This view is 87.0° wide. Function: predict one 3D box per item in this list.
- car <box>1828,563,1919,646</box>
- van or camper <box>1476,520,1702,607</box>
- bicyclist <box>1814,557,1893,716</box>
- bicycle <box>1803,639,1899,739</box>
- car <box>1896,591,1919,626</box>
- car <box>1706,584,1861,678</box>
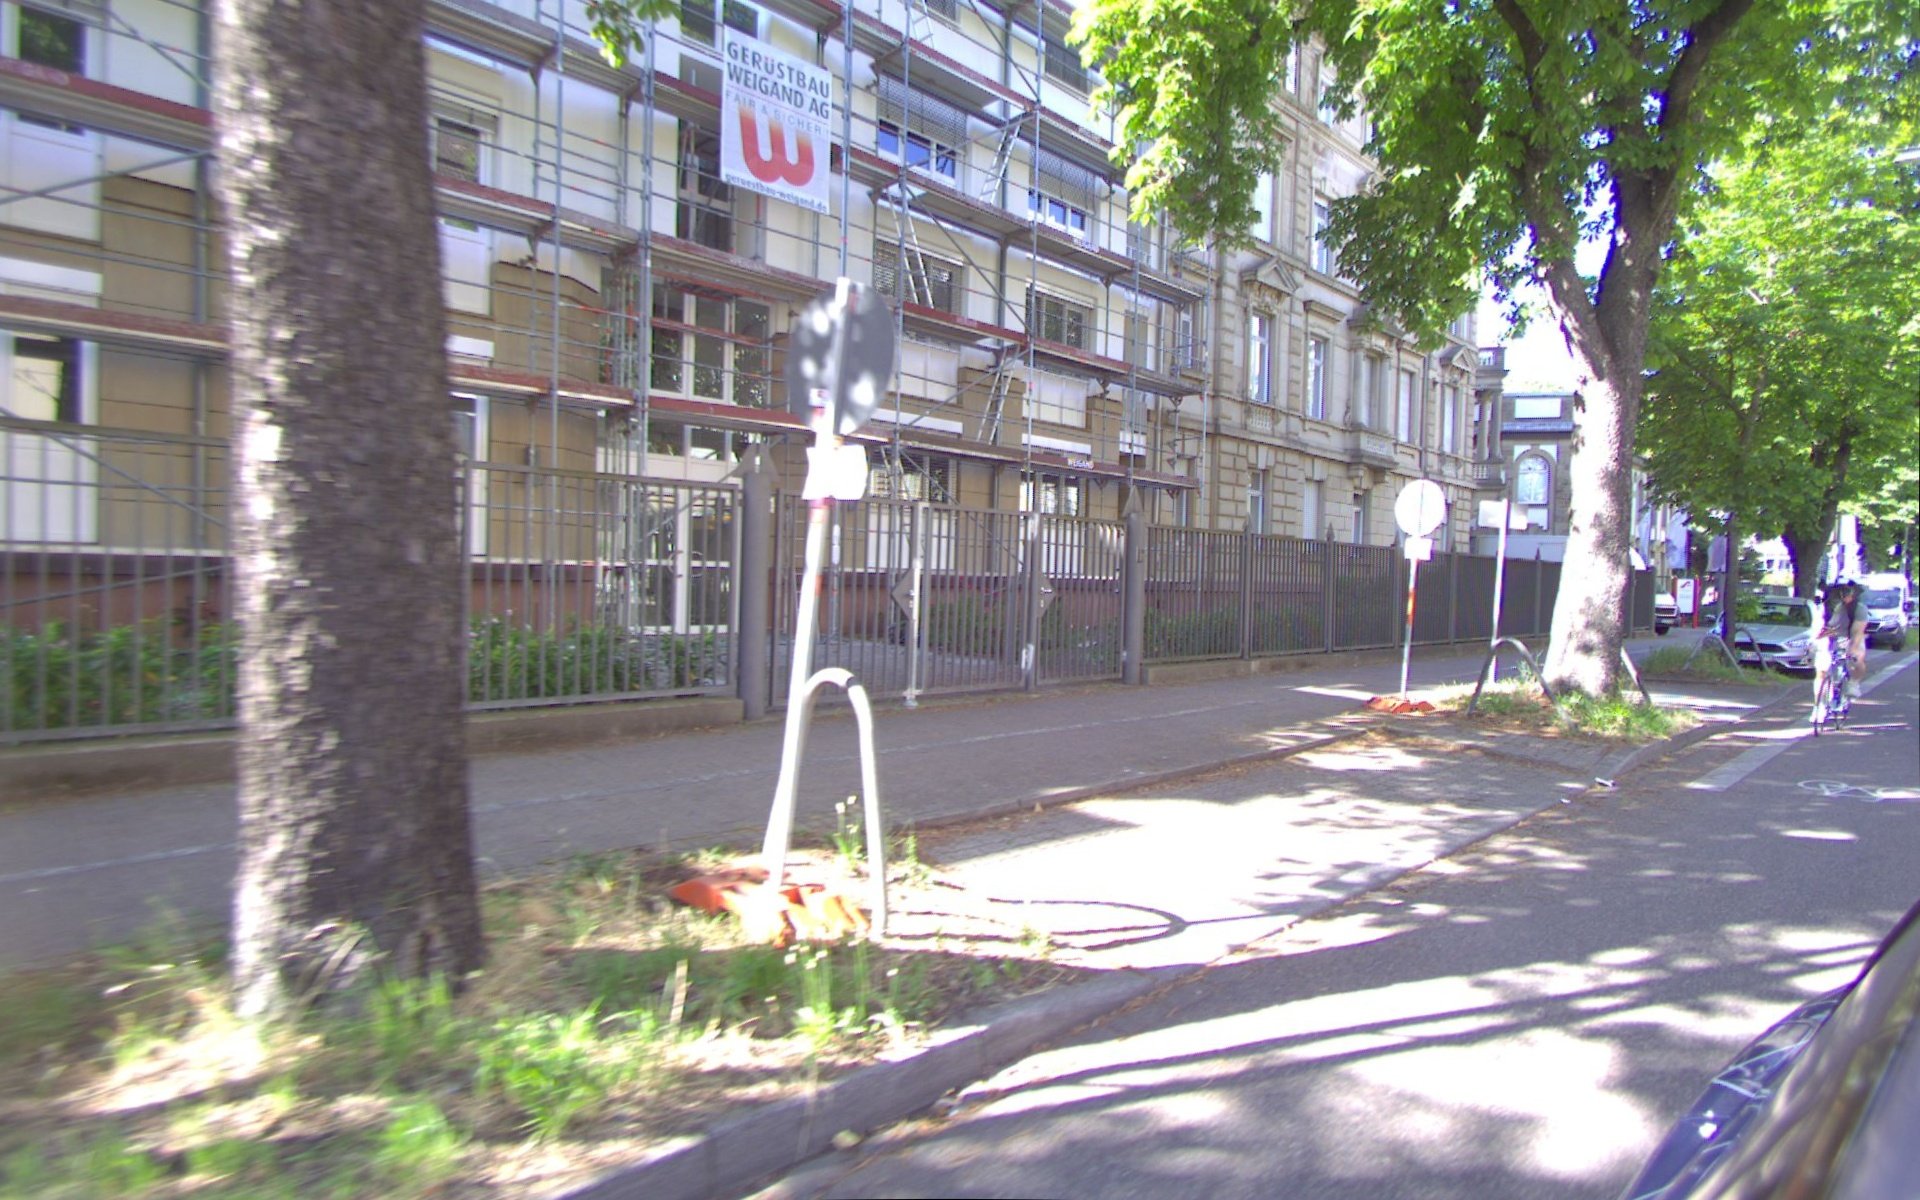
[{"bbox_3d":[29.687,0.060,32.553,5.711,2.371,2.128,-1,4,-45],"label":"car"},{"bbox_3d":[20.951,-1.182,34.229,2.078,2.660,6.753,0,1,-18],"label":"van or camper"},{"bbox_3d":[9.902,0.380,11.216,0.863,1.690,0.532,0,1,-41],"label":"bicyclist"},{"bbox_3d":[9.932,0.945,11.257,2.021,0.933,0.535,-1,1,-41],"label":"bicycle"},{"bbox_3d":[45.955,0.389,48.195,4.036,1.569,1.863,-1,2,-45],"label":"car"},{"bbox_3d":[16.413,0.509,20.088,4.295,1.562,1.874,-1,4,-45],"label":"car"}]
